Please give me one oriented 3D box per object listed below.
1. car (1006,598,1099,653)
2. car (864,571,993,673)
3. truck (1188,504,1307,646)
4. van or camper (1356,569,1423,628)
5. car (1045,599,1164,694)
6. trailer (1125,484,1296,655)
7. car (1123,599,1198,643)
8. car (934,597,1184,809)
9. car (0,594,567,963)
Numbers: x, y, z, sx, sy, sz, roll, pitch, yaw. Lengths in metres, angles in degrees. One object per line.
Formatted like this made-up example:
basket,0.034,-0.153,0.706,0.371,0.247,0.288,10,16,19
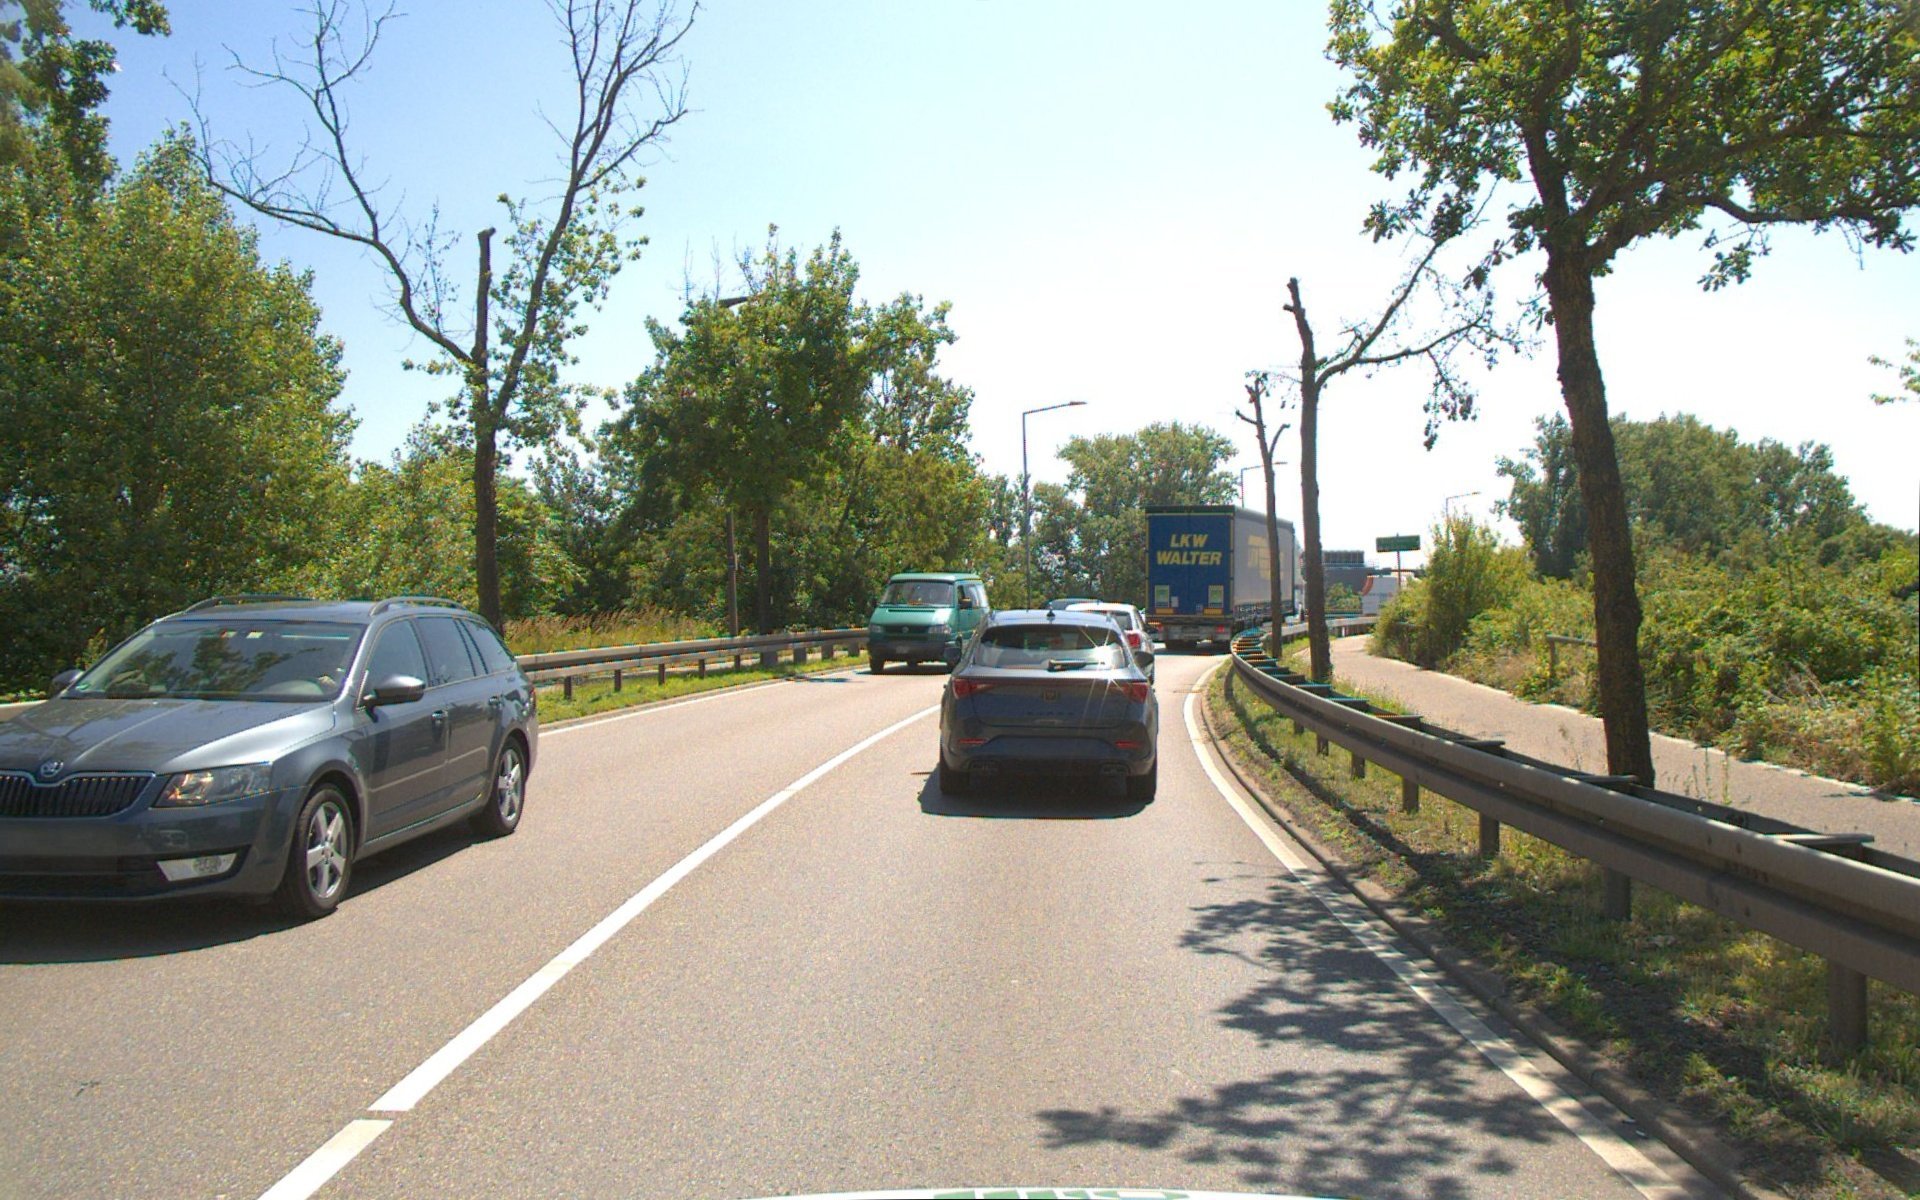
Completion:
car,2.733,0.702,47.960,1.807,1.493,4.744,1,0,14
car,-0.569,0.425,34.483,1.791,1.972,4.780,0,0,10
truck,10.245,-0.801,58.274,3.103,4.665,7.400,1,0,18
van or camper,20.779,-0.073,79.854,2.159,2.758,5.922,0,0,24
car,2.521,0.741,28.169,1.559,1.486,3.548,1,0,12
trailer,8.171,-0.847,51.990,3.068,4.694,12.953,1,0,18
car,7.095,0.717,58.259,1.665,1.472,4.460,1,0,20
car,0.732,0.742,13.837,1.807,1.525,3.758,0,0,0
car,-3.625,0.709,8.919,1.708,1.472,4.519,0,0,3
